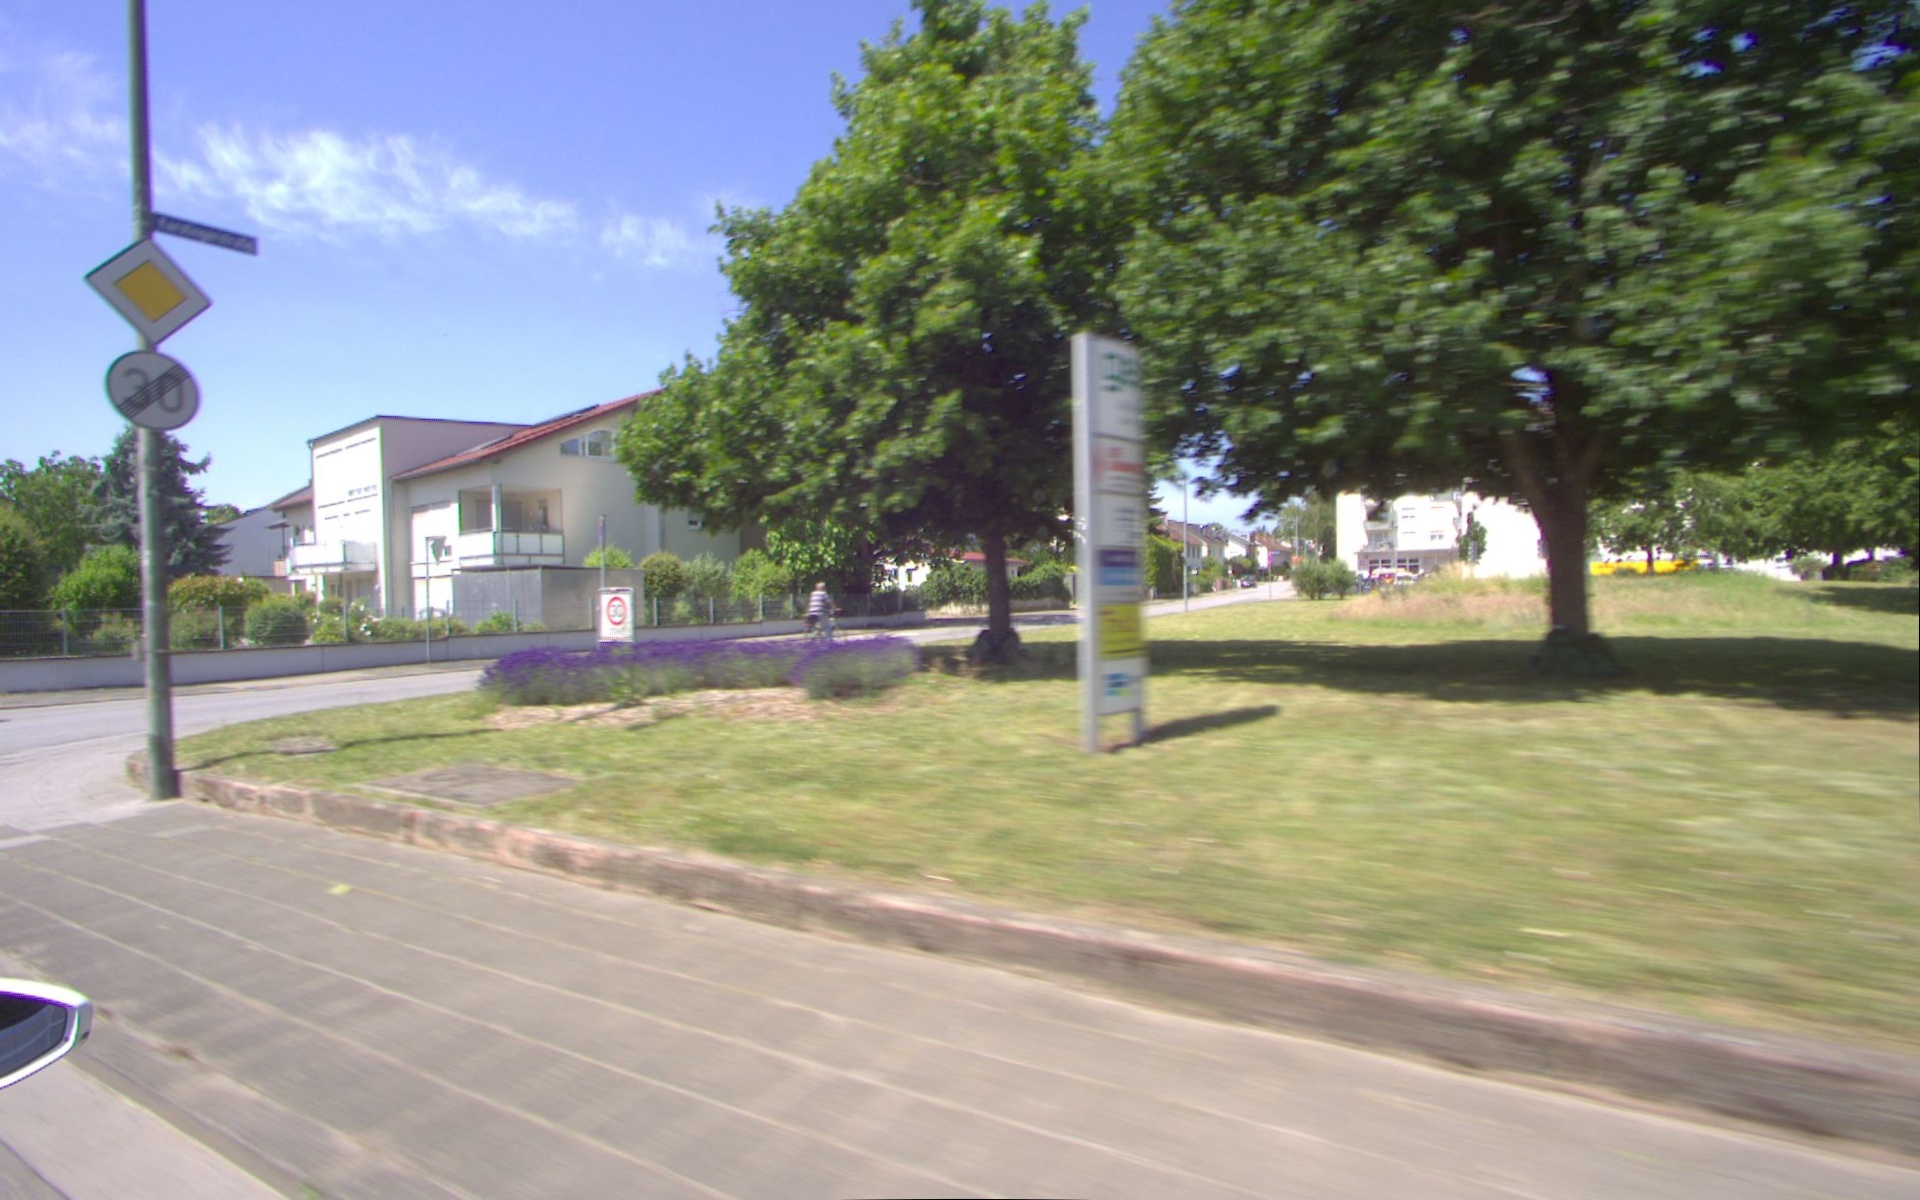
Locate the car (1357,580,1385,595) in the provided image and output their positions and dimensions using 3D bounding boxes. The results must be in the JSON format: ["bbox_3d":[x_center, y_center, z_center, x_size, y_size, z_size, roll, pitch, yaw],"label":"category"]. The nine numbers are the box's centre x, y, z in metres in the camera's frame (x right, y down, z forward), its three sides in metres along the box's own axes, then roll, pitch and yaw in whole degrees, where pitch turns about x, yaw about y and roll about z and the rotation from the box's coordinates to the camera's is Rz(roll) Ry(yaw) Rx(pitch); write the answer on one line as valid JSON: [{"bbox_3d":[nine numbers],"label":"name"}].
[{"bbox_3d":[36.863,-1.136,89.751,1.504,1.344,3.157,-1,1,39],"label":"car"}]

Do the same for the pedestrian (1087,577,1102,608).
[{"bbox_3d":[8.228,-0.460,61.193,0.771,1.876,0.630,-1,-1,24],"label":"pedestrian"}]

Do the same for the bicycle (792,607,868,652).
[{"bbox_3d":[-3.475,0.772,26.956,0.805,1.118,2.133,0,1,35],"label":"bicycle"}]

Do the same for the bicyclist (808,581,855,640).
[{"bbox_3d":[-3.461,0.274,26.986,0.845,1.551,0.922,0,2,36],"label":"bicyclist"}]
